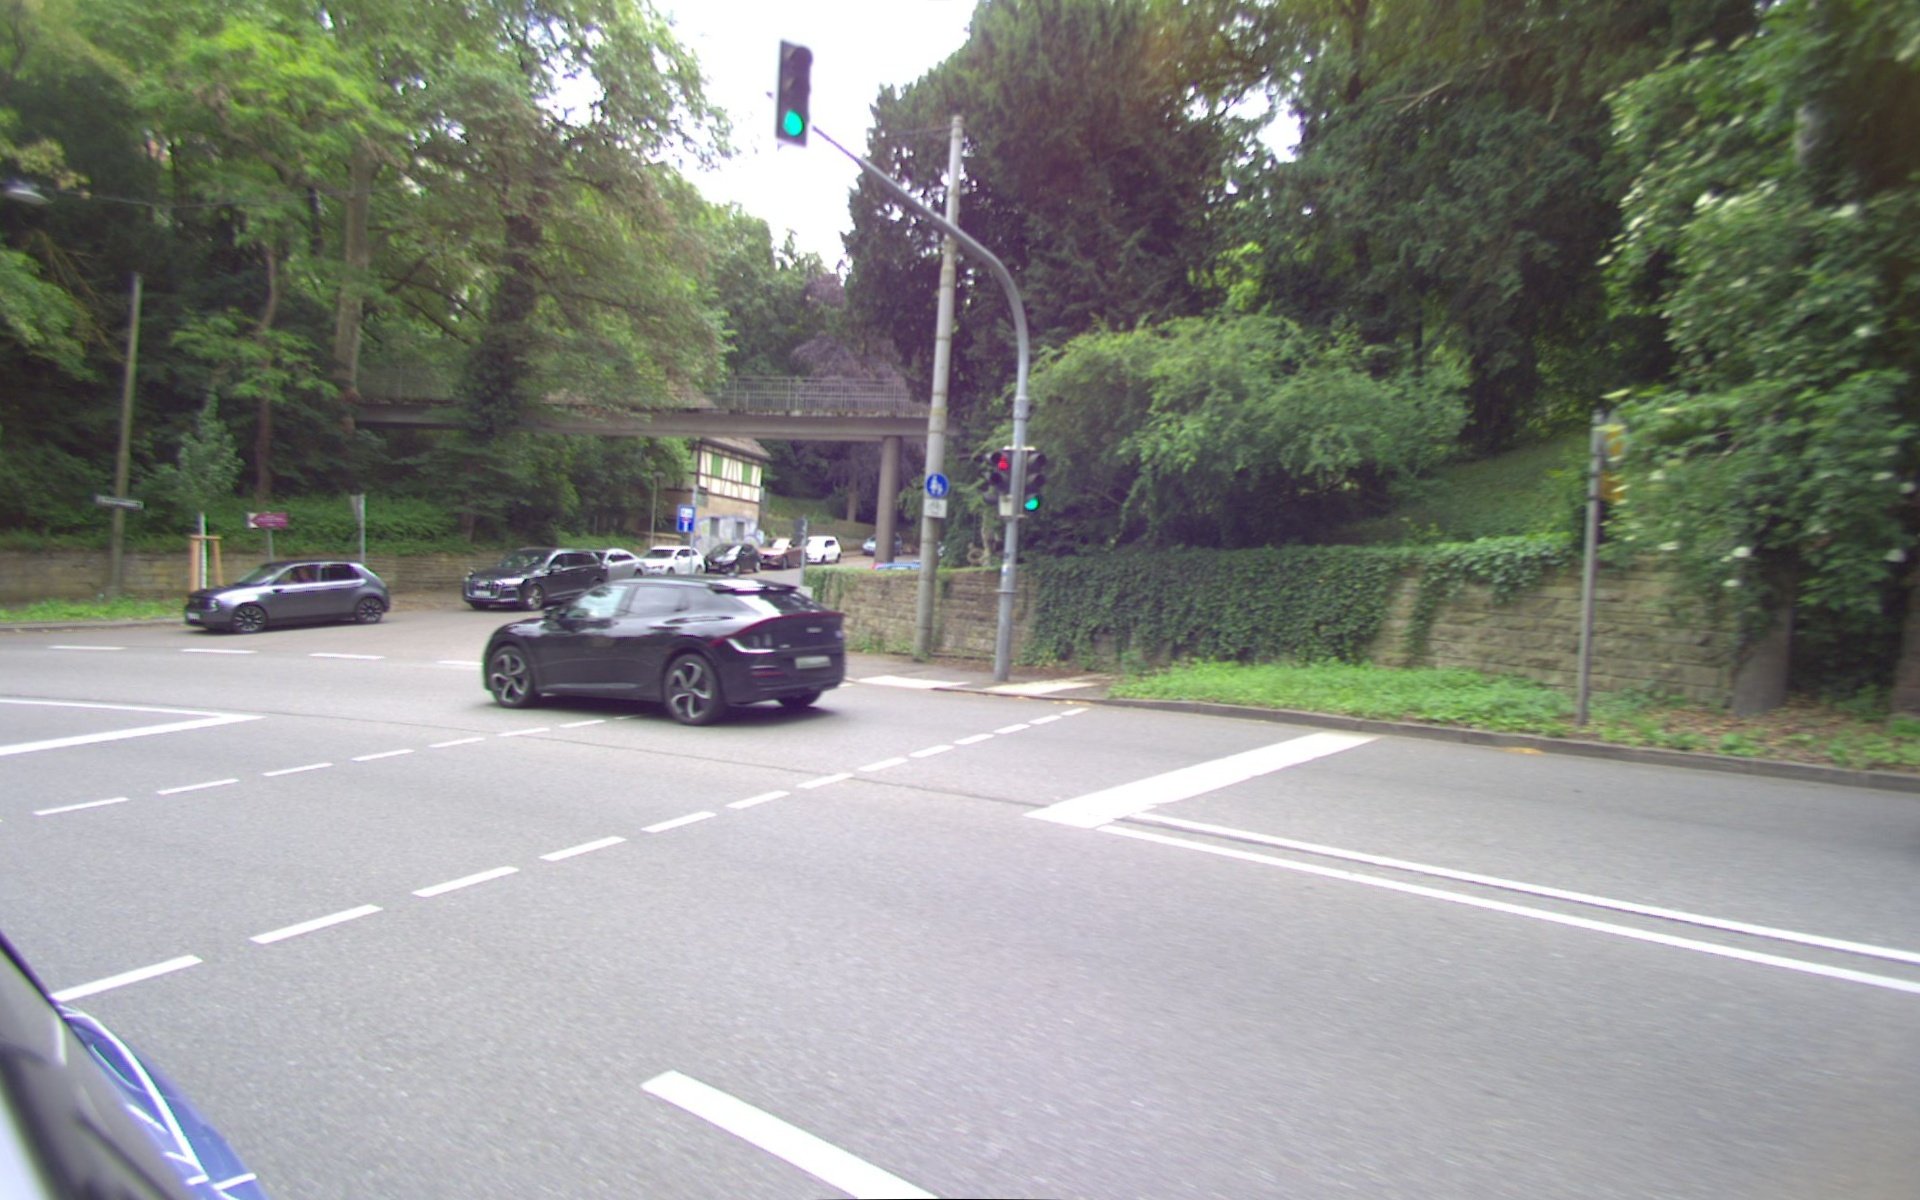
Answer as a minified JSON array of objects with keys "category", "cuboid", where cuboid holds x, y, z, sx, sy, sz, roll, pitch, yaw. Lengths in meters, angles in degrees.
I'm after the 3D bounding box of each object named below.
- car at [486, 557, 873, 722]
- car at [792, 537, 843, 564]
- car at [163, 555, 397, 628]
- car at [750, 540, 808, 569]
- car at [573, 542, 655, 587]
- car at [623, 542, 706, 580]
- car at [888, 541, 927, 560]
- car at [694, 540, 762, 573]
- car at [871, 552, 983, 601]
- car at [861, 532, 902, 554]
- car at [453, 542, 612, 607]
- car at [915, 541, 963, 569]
[{"category":"car","cuboid":[-3.231,0.331,11.374,4.382,1.554,1.619,0,2,31]},{"category":"car","cuboid":[-8.148,-2.900,58.190,1.586,1.338,3.898,4,5,12]},{"category":"car","cuboid":[-15.031,-0.273,22.590,1.748,1.368,3.959,3,5,31]},{"category":"car","cuboid":[-9.395,-2.416,52.808,1.586,1.339,3.898,4,5,12]},{"category":"car","cuboid":[-12.949,-1.376,38.040,1.490,1.457,3.255,4,5,11]},{"category":"car","cuboid":[-12.286,-1.662,42.291,1.612,1.339,4.009,4,5,12]},{"category":"car","cuboid":[-3.721,-3.574,72.192,1.581,1.237,3.621,4,4,17]},{"category":"car","cuboid":[-10.966,-2.105,48.081,1.586,1.339,3.898,4,5,12]},{"category":"car","cuboid":[-1.182,-0.875,37.237,3.947,1.563,1.775,3,4,3]},{"category":"car","cuboid":[-5.217,-3.808,67.513,1.586,1.339,3.898,4,5,12]},{"category":"car","cuboid":[-12.212,-0.785,29.255,1.792,1.697,4.520,2,3,16]},{"category":"car","cuboid":[-1.205,-2.680,59.754,1.743,1.443,3.982,4,5,14]}]
